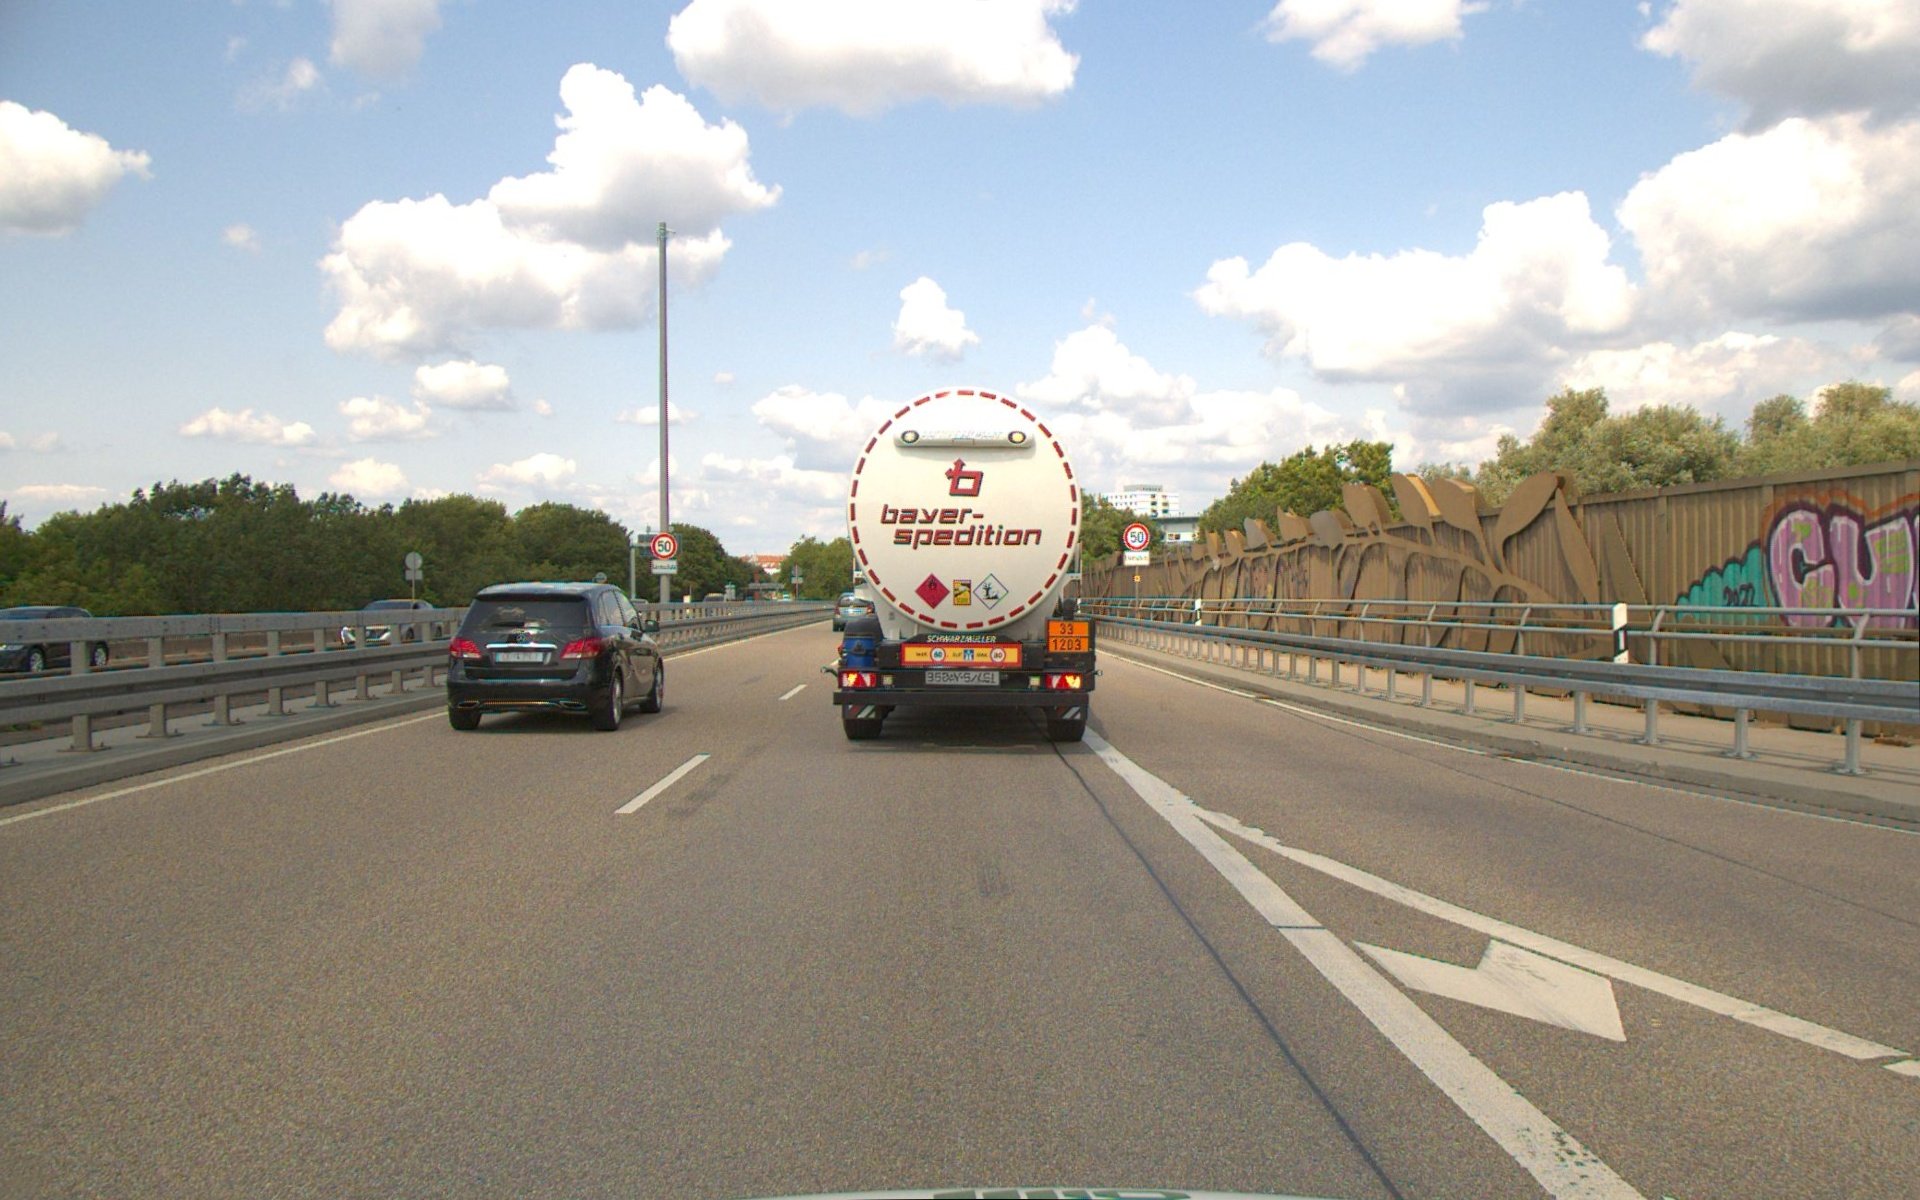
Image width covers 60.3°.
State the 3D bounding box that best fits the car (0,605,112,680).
[{"bbox_3d":[-19.359,0.838,34.200,1.644,1.426,3.999,0,0,-1],"label":"car"}]

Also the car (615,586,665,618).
[{"bbox_3d":[-16.665,0.097,86.295,1.953,1.601,3.999,1,0,-2],"label":"car"}]

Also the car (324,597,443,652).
[{"bbox_3d":[-16.095,0.660,46.406,1.740,1.445,4.621,0,0,0],"label":"car"}]

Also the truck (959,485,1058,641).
[{"bbox_3d":[1.535,-1.206,56.410,2.837,4.892,8.027,1,0,-2],"label":"truck"}]

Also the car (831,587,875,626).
[{"bbox_3d":[-4.462,0.232,69.348,1.712,1.558,3.999,0,1,-2],"label":"car"}]

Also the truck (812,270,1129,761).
[{"bbox_3d":[-0.023,-0.800,19.187,2.837,4.445,8.027,1,0,-2],"label":"truck"}]

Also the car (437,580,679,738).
[{"bbox_3d":[-4.398,0.570,18.774,1.677,1.554,4.592,1,0,-1],"label":"car"}]
